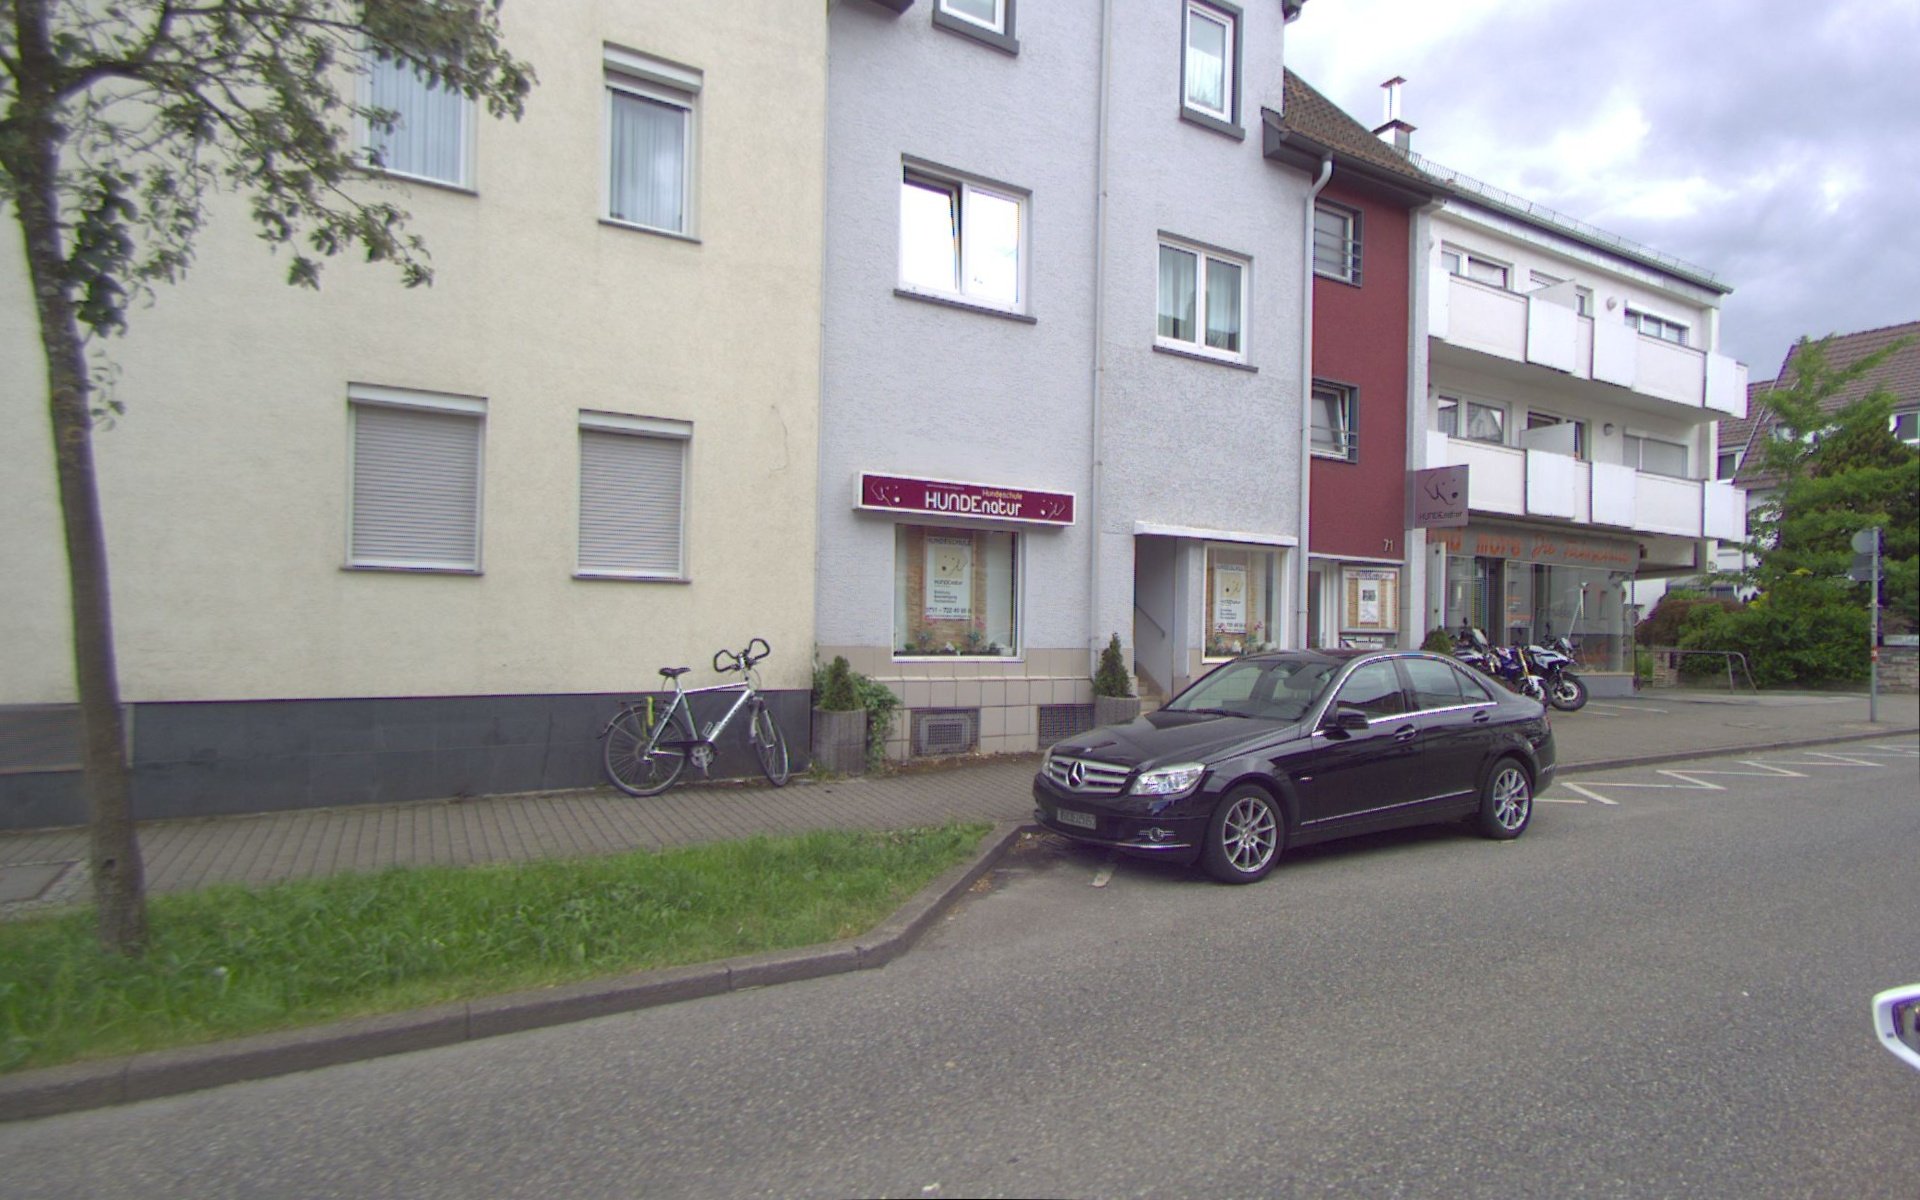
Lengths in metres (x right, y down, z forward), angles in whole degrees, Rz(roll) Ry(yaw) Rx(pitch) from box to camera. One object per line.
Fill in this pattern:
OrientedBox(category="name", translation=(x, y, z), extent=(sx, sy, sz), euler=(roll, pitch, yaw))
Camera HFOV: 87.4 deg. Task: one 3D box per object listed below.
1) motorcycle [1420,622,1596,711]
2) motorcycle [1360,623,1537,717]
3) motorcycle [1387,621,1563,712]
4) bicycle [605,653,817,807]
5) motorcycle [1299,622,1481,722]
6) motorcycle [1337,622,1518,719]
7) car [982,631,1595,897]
OrientedBox(category="motorcycle", translation=(9.713, 1.134, 17.934), extent=(0.694, 1.428, 2.686), euler=(2, -1, -38))
OrientedBox(category="motorcycle", translation=(8.290, 1.138, 17.206), extent=(0.694, 1.428, 2.686), euler=(2, -1, -38))
OrientedBox(category="motorcycle", translation=(8.954, 1.112, 17.604), extent=(0.694, 1.428, 2.686), euler=(2, -1, -38))
OrientedBox(category="bicycle", translation=(-2.074, 1.043, 8.475), extent=(1.648, 1.169, 0.511), euler=(2, -1, -33))
OrientedBox(category="motorcycle", translation=(6.891, 1.109, 16.268), extent=(0.694, 1.428, 2.686), euler=(2, -1, -38))
OrientedBox(category="motorcycle", translation=(7.674, 1.117, 16.662), extent=(0.694, 1.428, 2.686), euler=(2, -1, -38))
OrientedBox(category="car", translation=(2.563, 1.032, 7.629), extent=(4.462, 1.486, 1.940), euler=(2, -4, -30))
